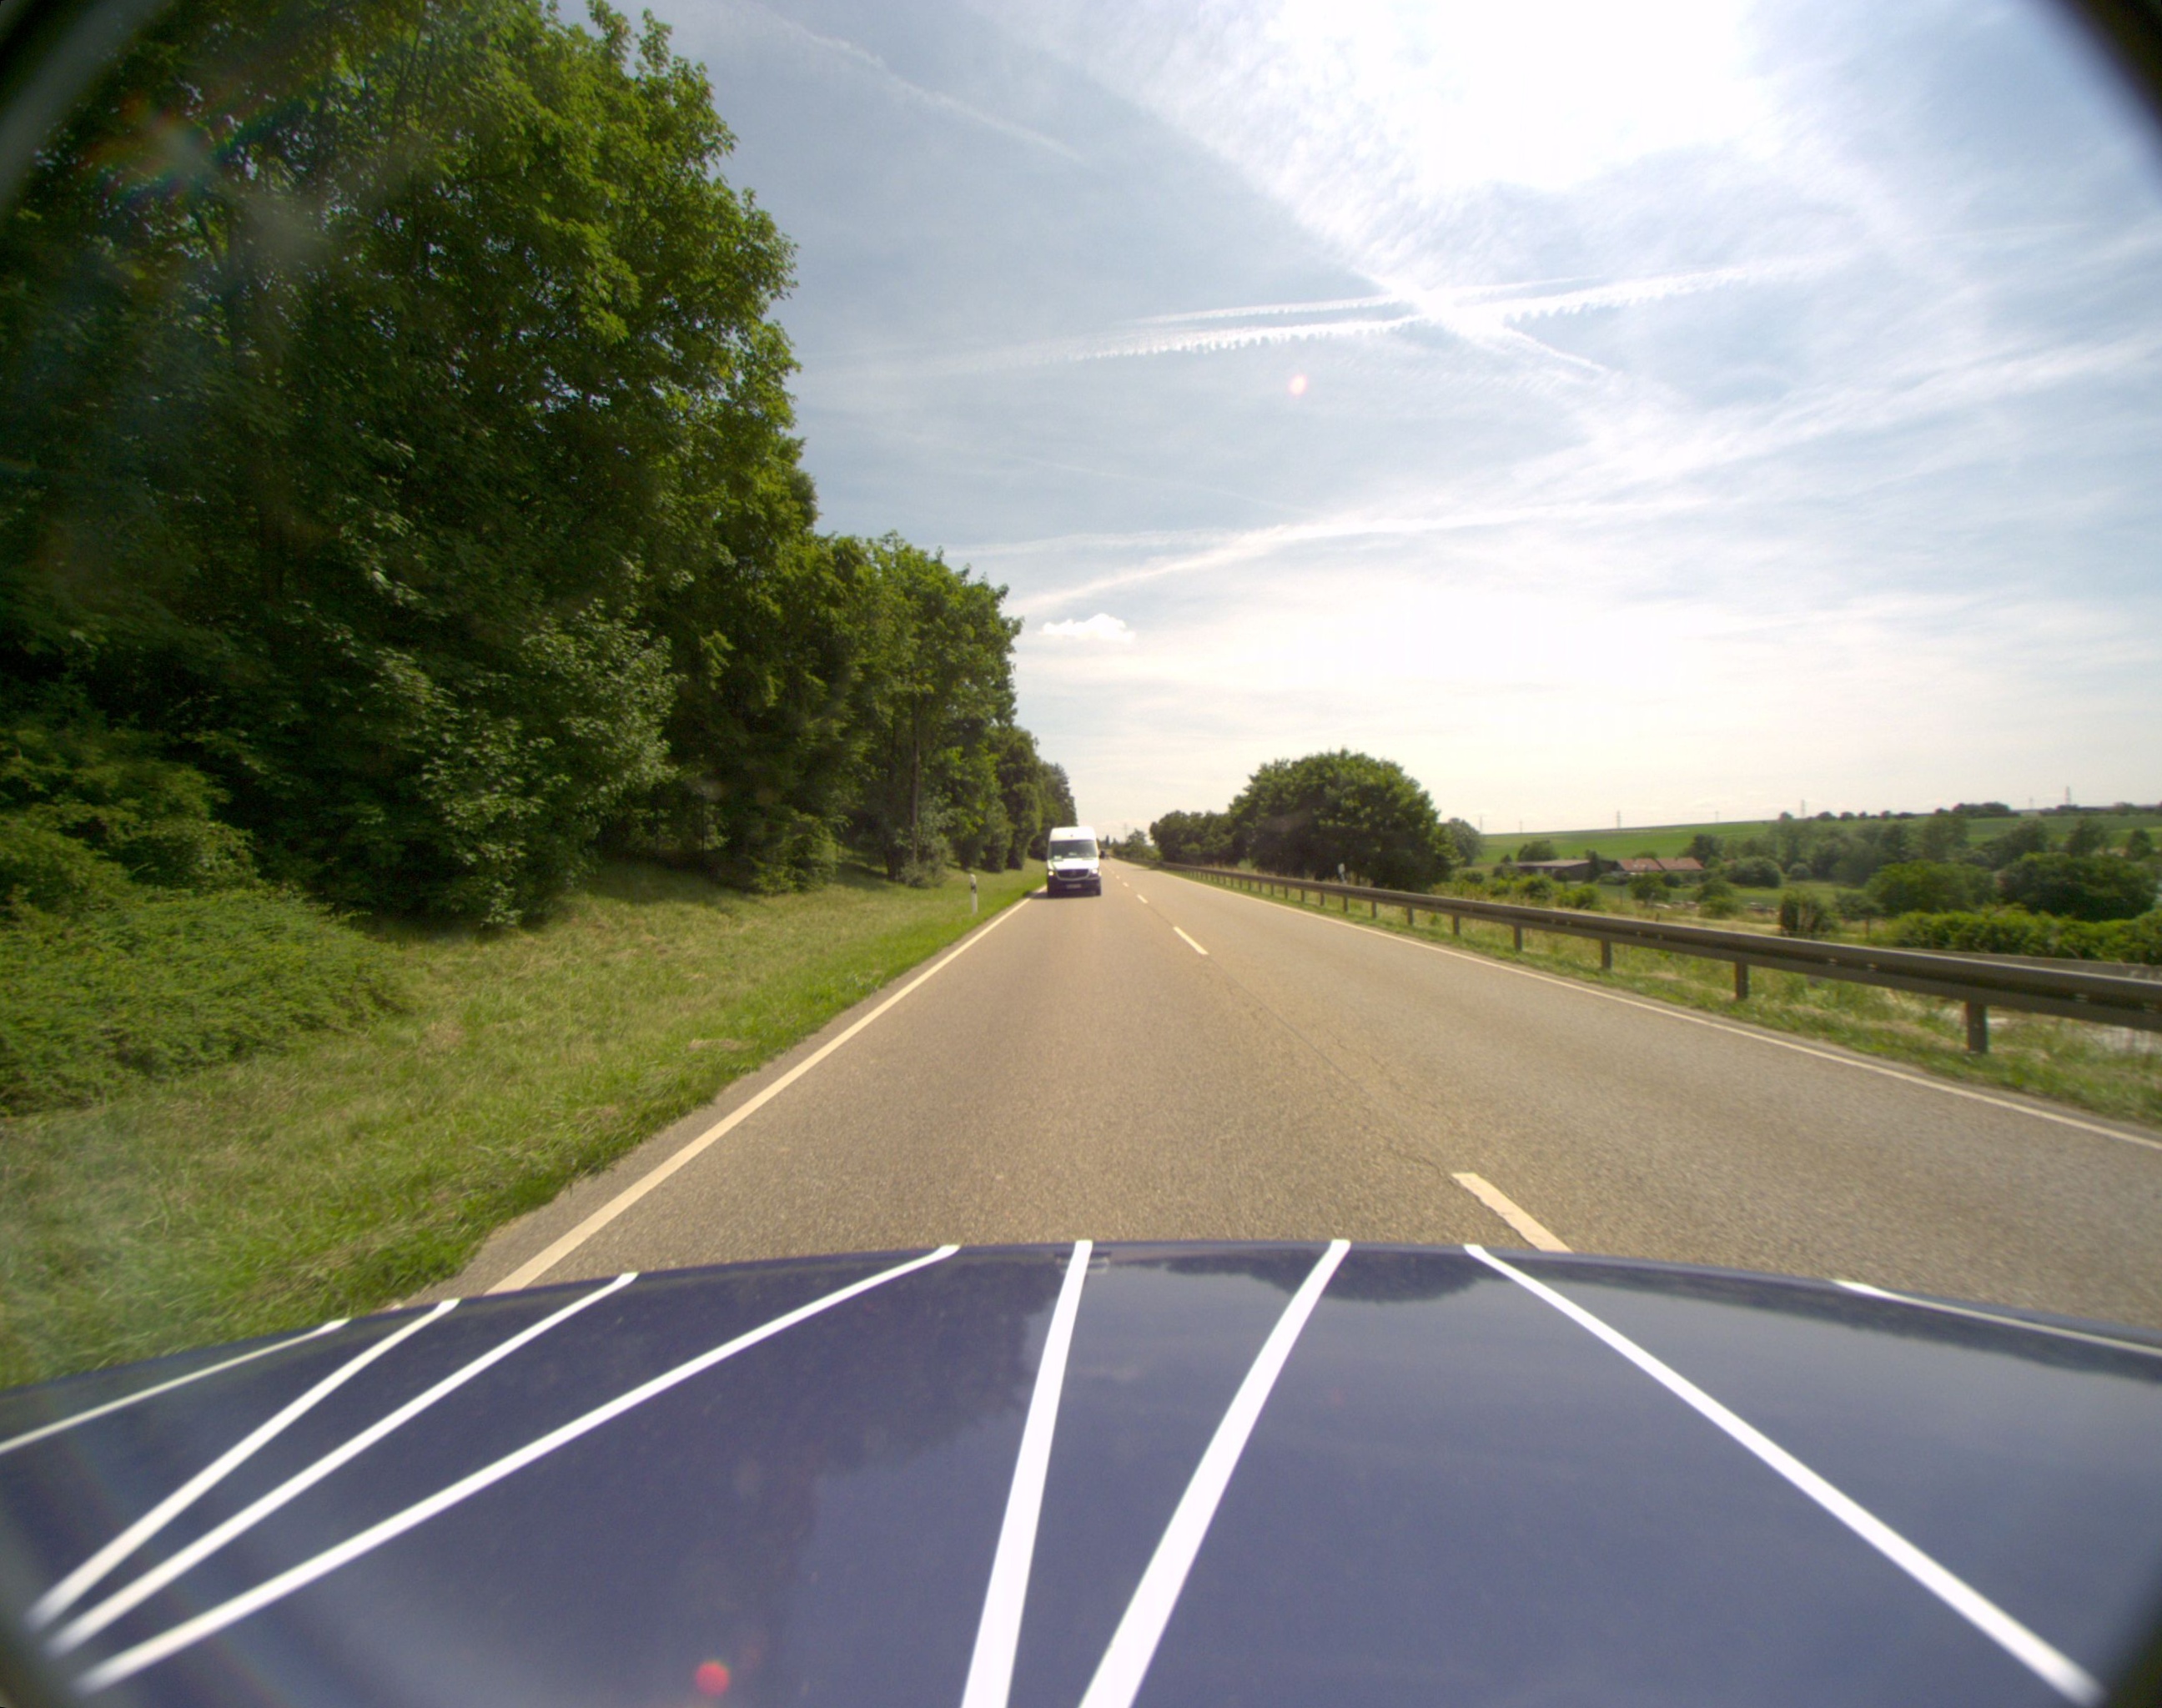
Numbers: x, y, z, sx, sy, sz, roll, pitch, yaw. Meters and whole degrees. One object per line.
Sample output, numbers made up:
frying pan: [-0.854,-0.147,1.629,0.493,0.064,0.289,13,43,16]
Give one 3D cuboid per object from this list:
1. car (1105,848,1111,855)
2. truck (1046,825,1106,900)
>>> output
car: [6.750,-0.629,188.883,1.561,1.454,3.550,1,0,2]
truck: [-0.085,0.285,30.181,2.023,2.567,7.226,-2,0,1]
